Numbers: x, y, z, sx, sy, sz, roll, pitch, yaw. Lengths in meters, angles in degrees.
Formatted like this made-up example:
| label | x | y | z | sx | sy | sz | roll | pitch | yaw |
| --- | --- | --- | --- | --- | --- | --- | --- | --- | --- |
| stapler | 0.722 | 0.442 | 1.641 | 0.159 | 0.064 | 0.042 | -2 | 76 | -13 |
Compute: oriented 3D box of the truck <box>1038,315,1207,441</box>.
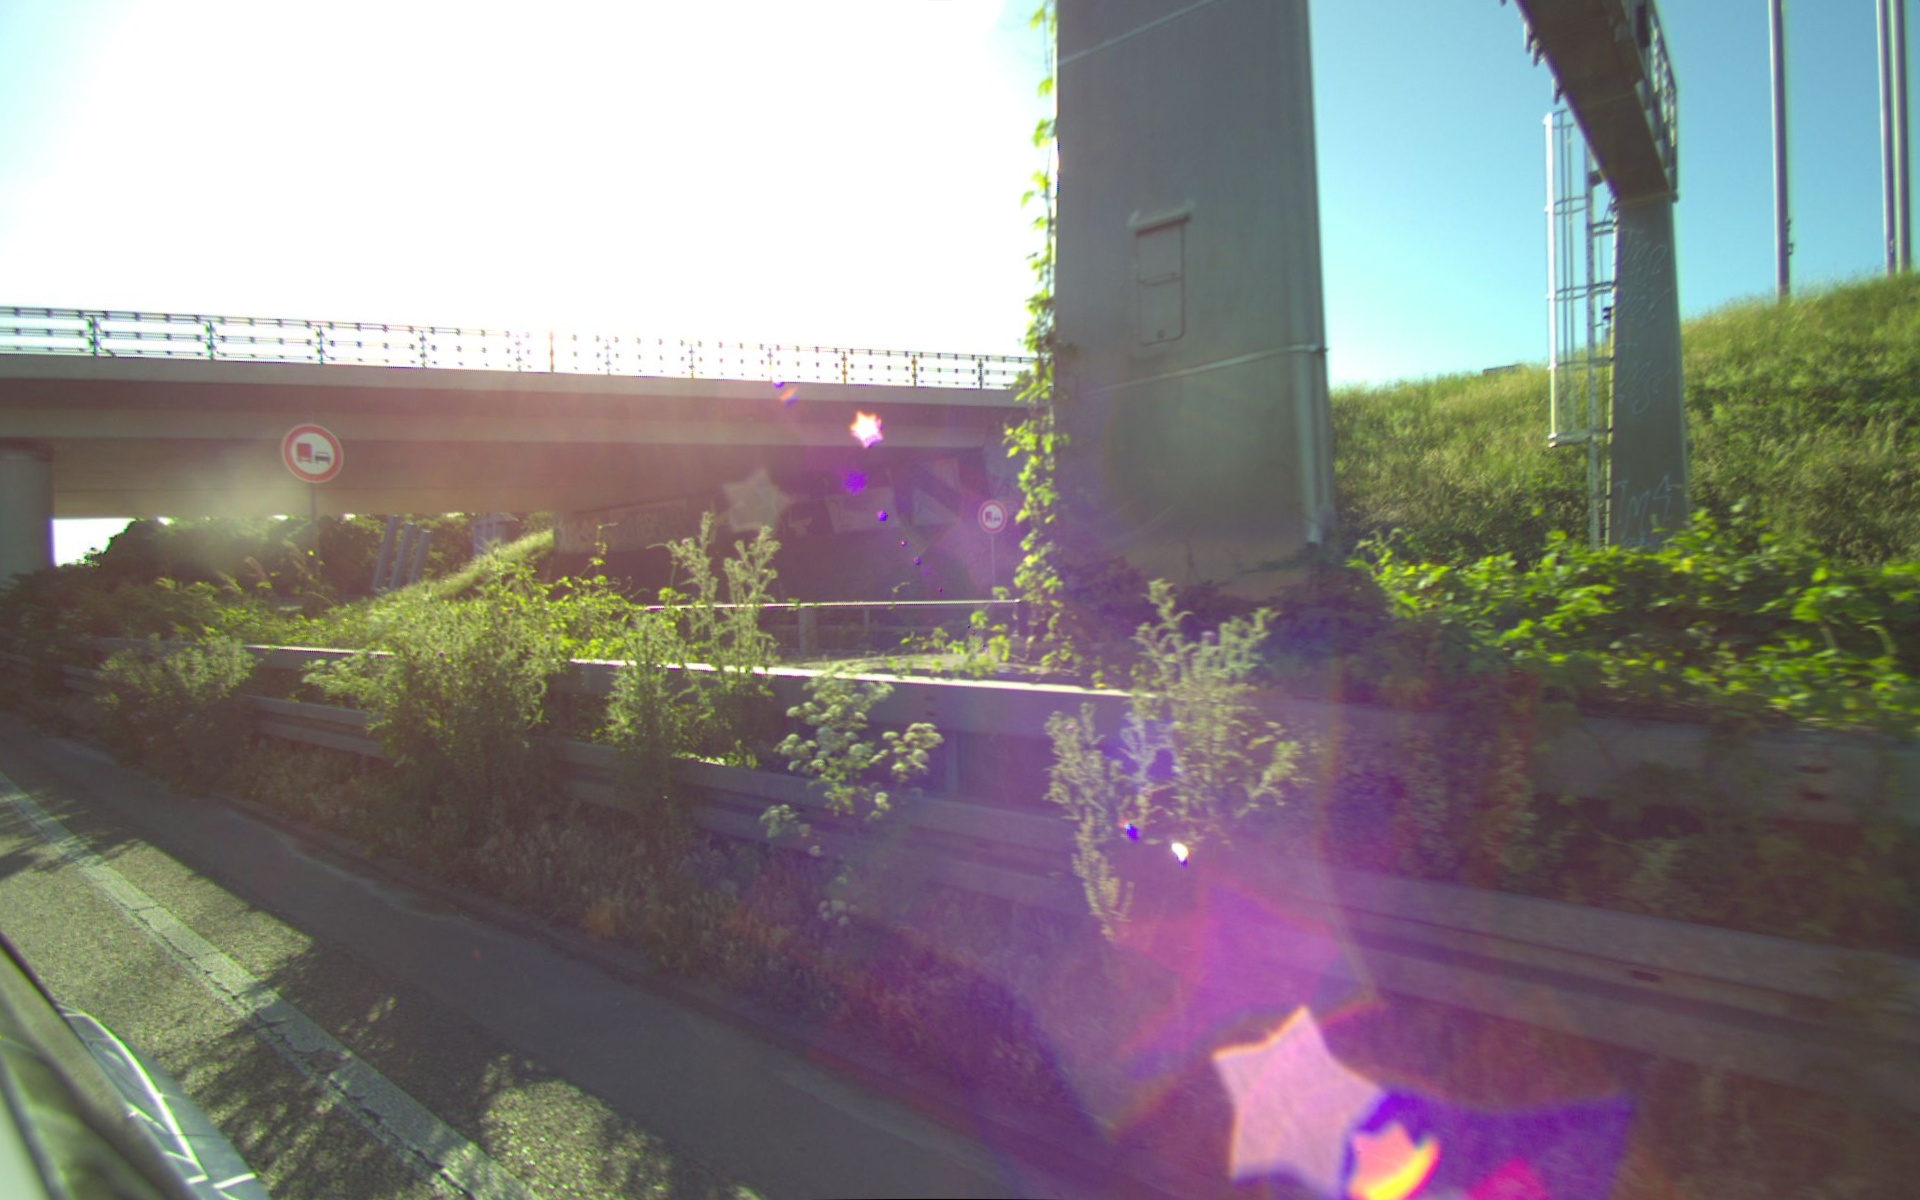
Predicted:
| label | x | y | z | sx | sy | sz | roll | pitch | yaw |
| --- | --- | --- | --- | --- | --- | --- | --- | --- | --- |
| truck | 6.251 | -8.392 | 38.839 | 6.164 | 4.101 | 2.007 | -2 | 1 | -22 |
